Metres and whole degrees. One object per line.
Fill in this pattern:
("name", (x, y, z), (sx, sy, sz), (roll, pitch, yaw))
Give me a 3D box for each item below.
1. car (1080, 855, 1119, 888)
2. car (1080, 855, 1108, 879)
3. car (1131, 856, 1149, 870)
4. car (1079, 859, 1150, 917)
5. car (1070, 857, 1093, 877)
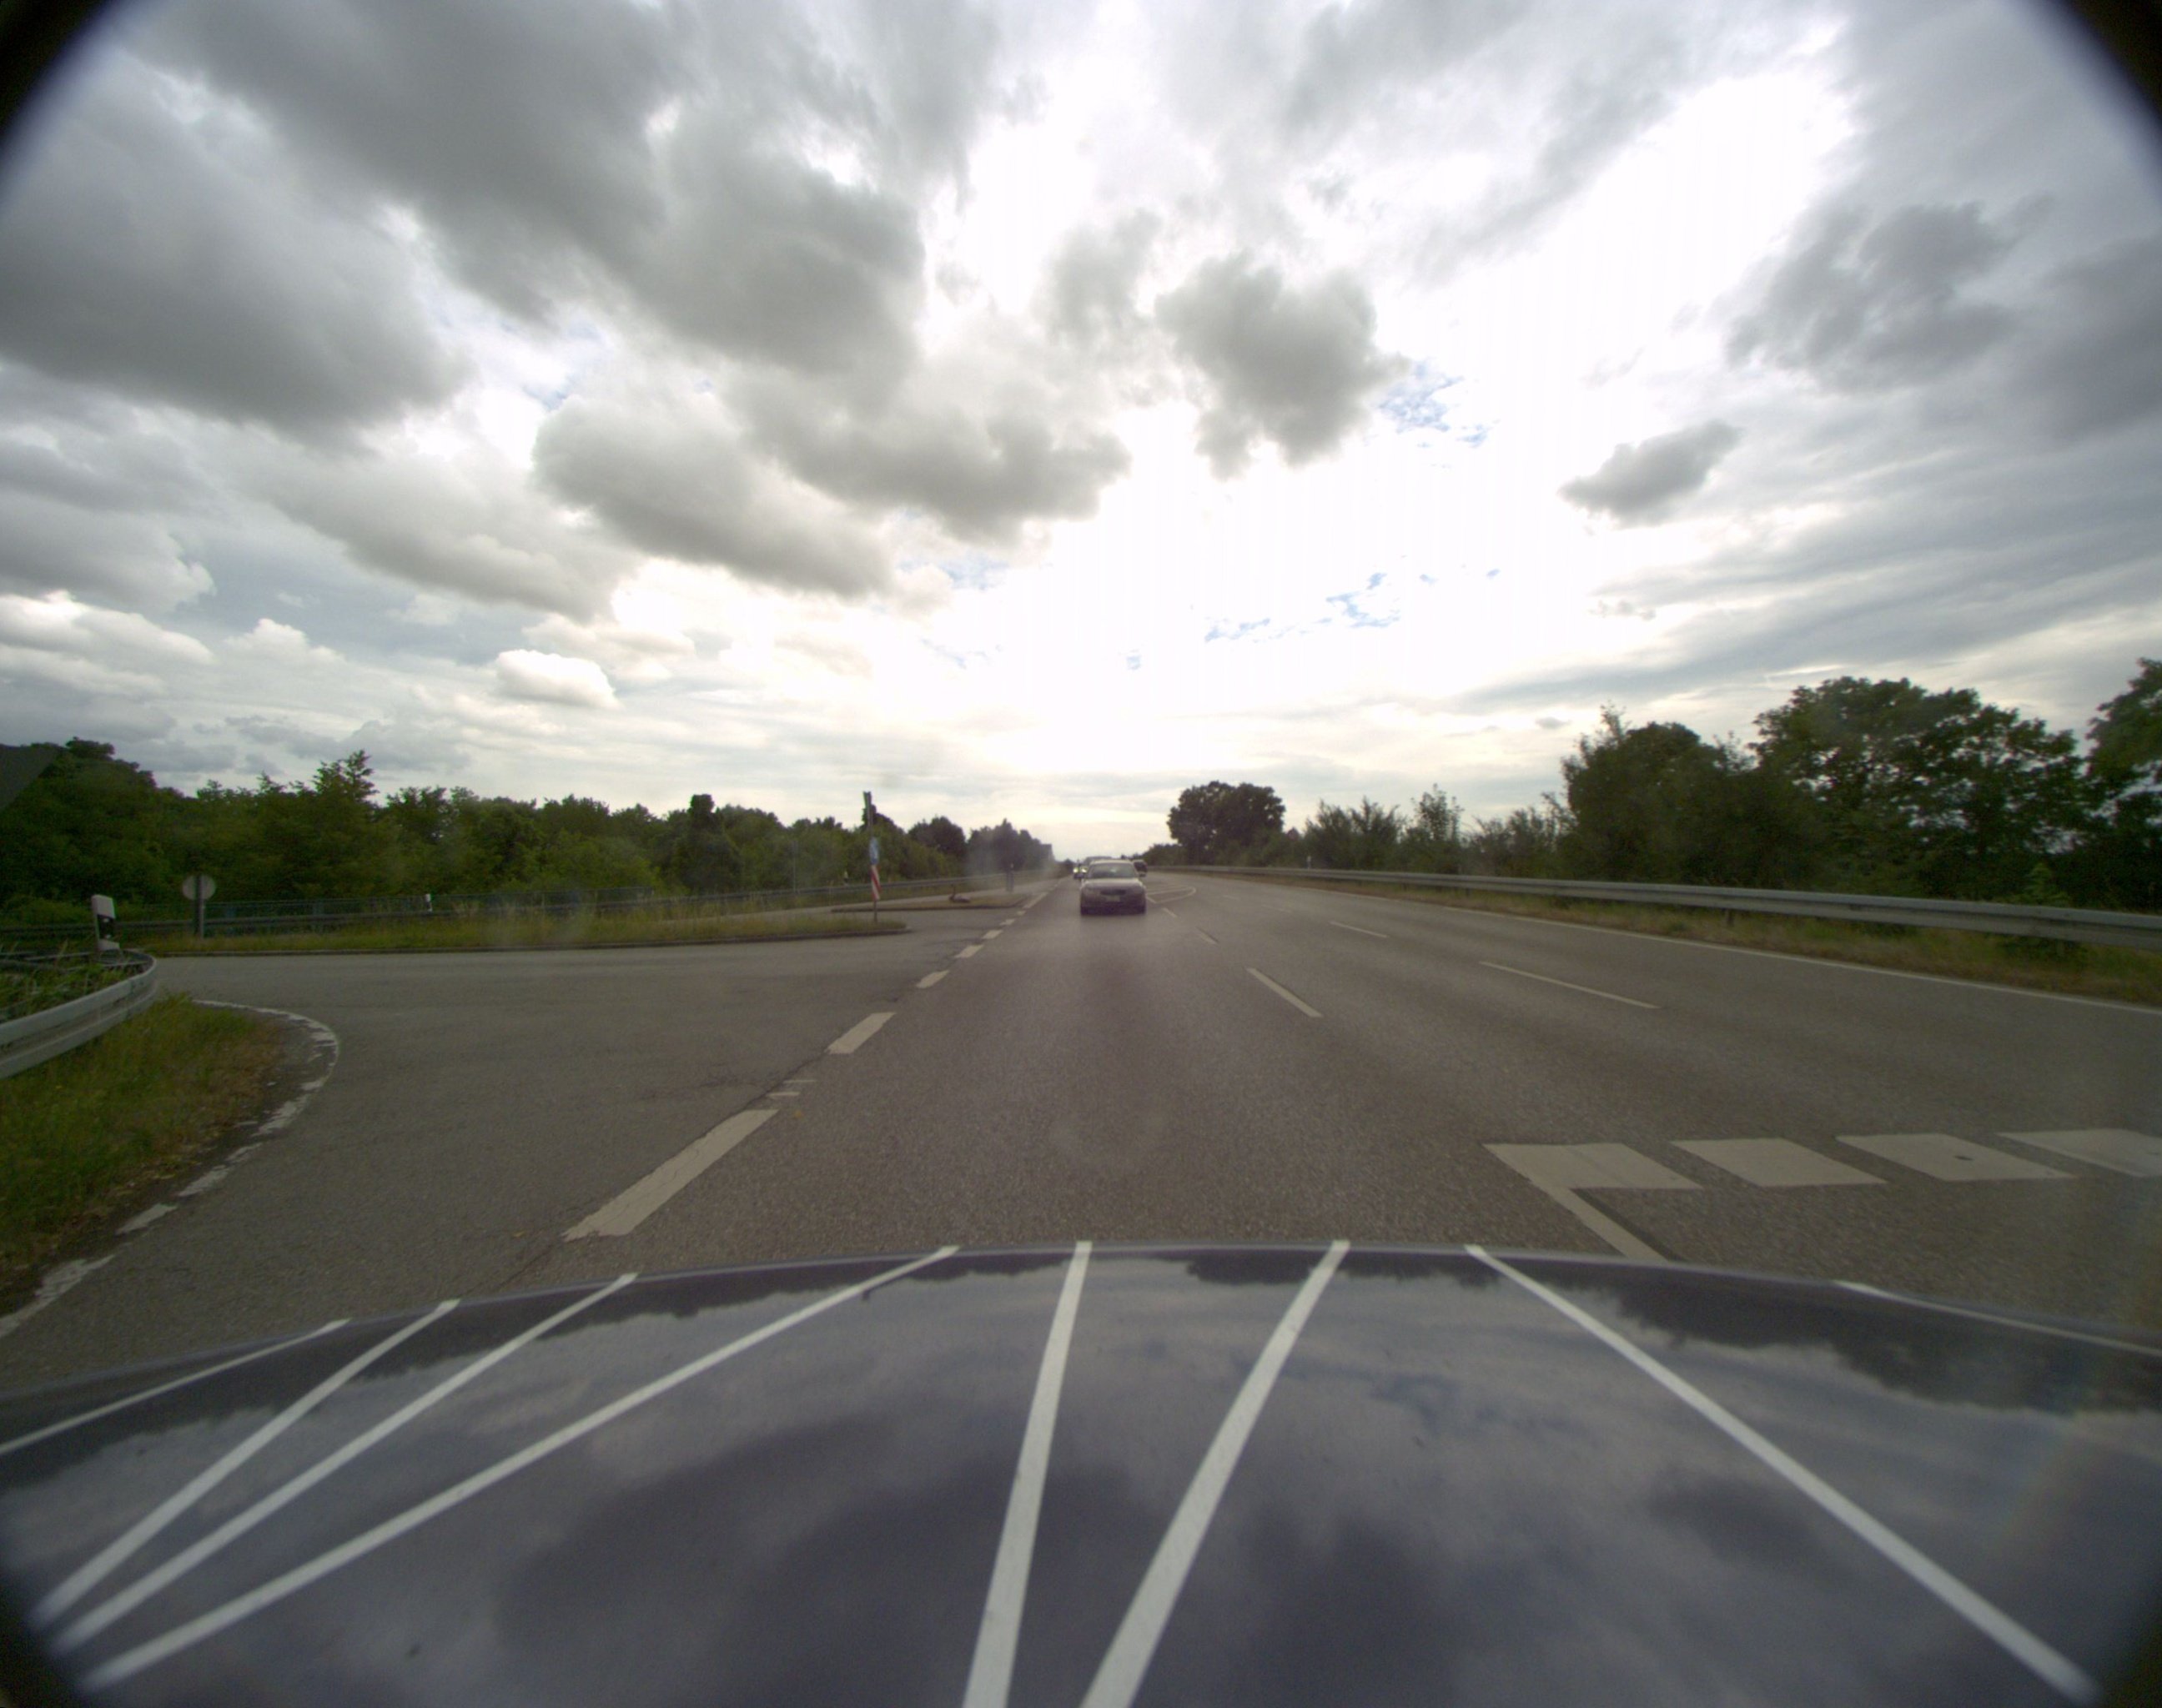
("car", (0.885, 0.857, 38.208), (1.835, 1.537, 4.035), (-2, -1, 0))
("car", (0.886, 0.882, 52.899), (1.835, 1.537, 4.035), (-2, -1, 0))
("car", (6.815, 1.074, 87.621), (1.715, 1.514, 4.000), (-2, 0, 1))
("car", (0.862, 0.897, 21.479), (1.784, 1.441, 4.035), (-2, -1, 0))
("car", (0.067, 1.076, 62.775), (1.835, 1.537, 4.035), (-2, -1, 0))
